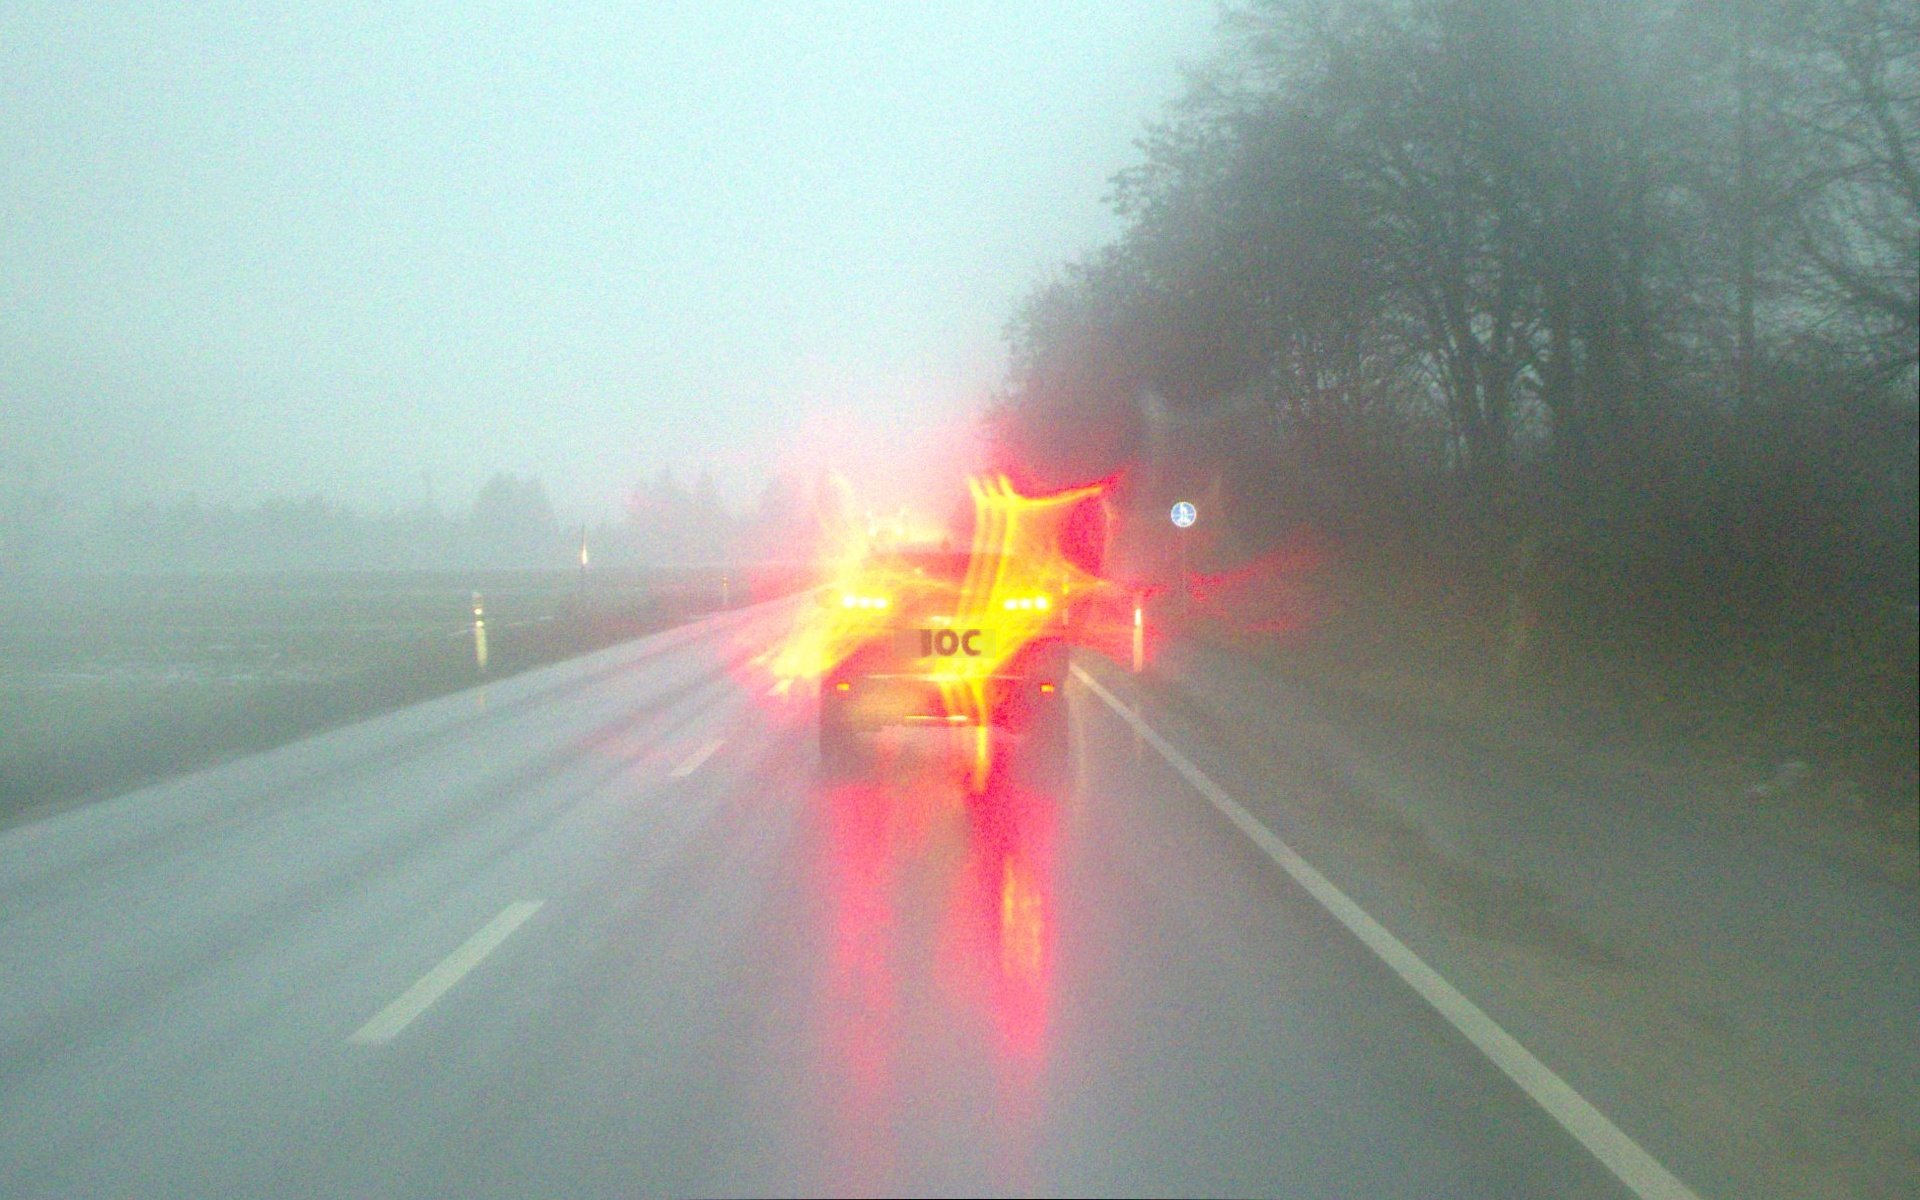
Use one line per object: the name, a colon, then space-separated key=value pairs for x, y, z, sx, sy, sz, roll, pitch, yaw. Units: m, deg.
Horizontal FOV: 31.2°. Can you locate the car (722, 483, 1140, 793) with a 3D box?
car: x=-0.188 y=0.225 z=26.340 sx=2.820 sy=2.070 sz=5.804 roll=1 pitch=1 yaw=0
